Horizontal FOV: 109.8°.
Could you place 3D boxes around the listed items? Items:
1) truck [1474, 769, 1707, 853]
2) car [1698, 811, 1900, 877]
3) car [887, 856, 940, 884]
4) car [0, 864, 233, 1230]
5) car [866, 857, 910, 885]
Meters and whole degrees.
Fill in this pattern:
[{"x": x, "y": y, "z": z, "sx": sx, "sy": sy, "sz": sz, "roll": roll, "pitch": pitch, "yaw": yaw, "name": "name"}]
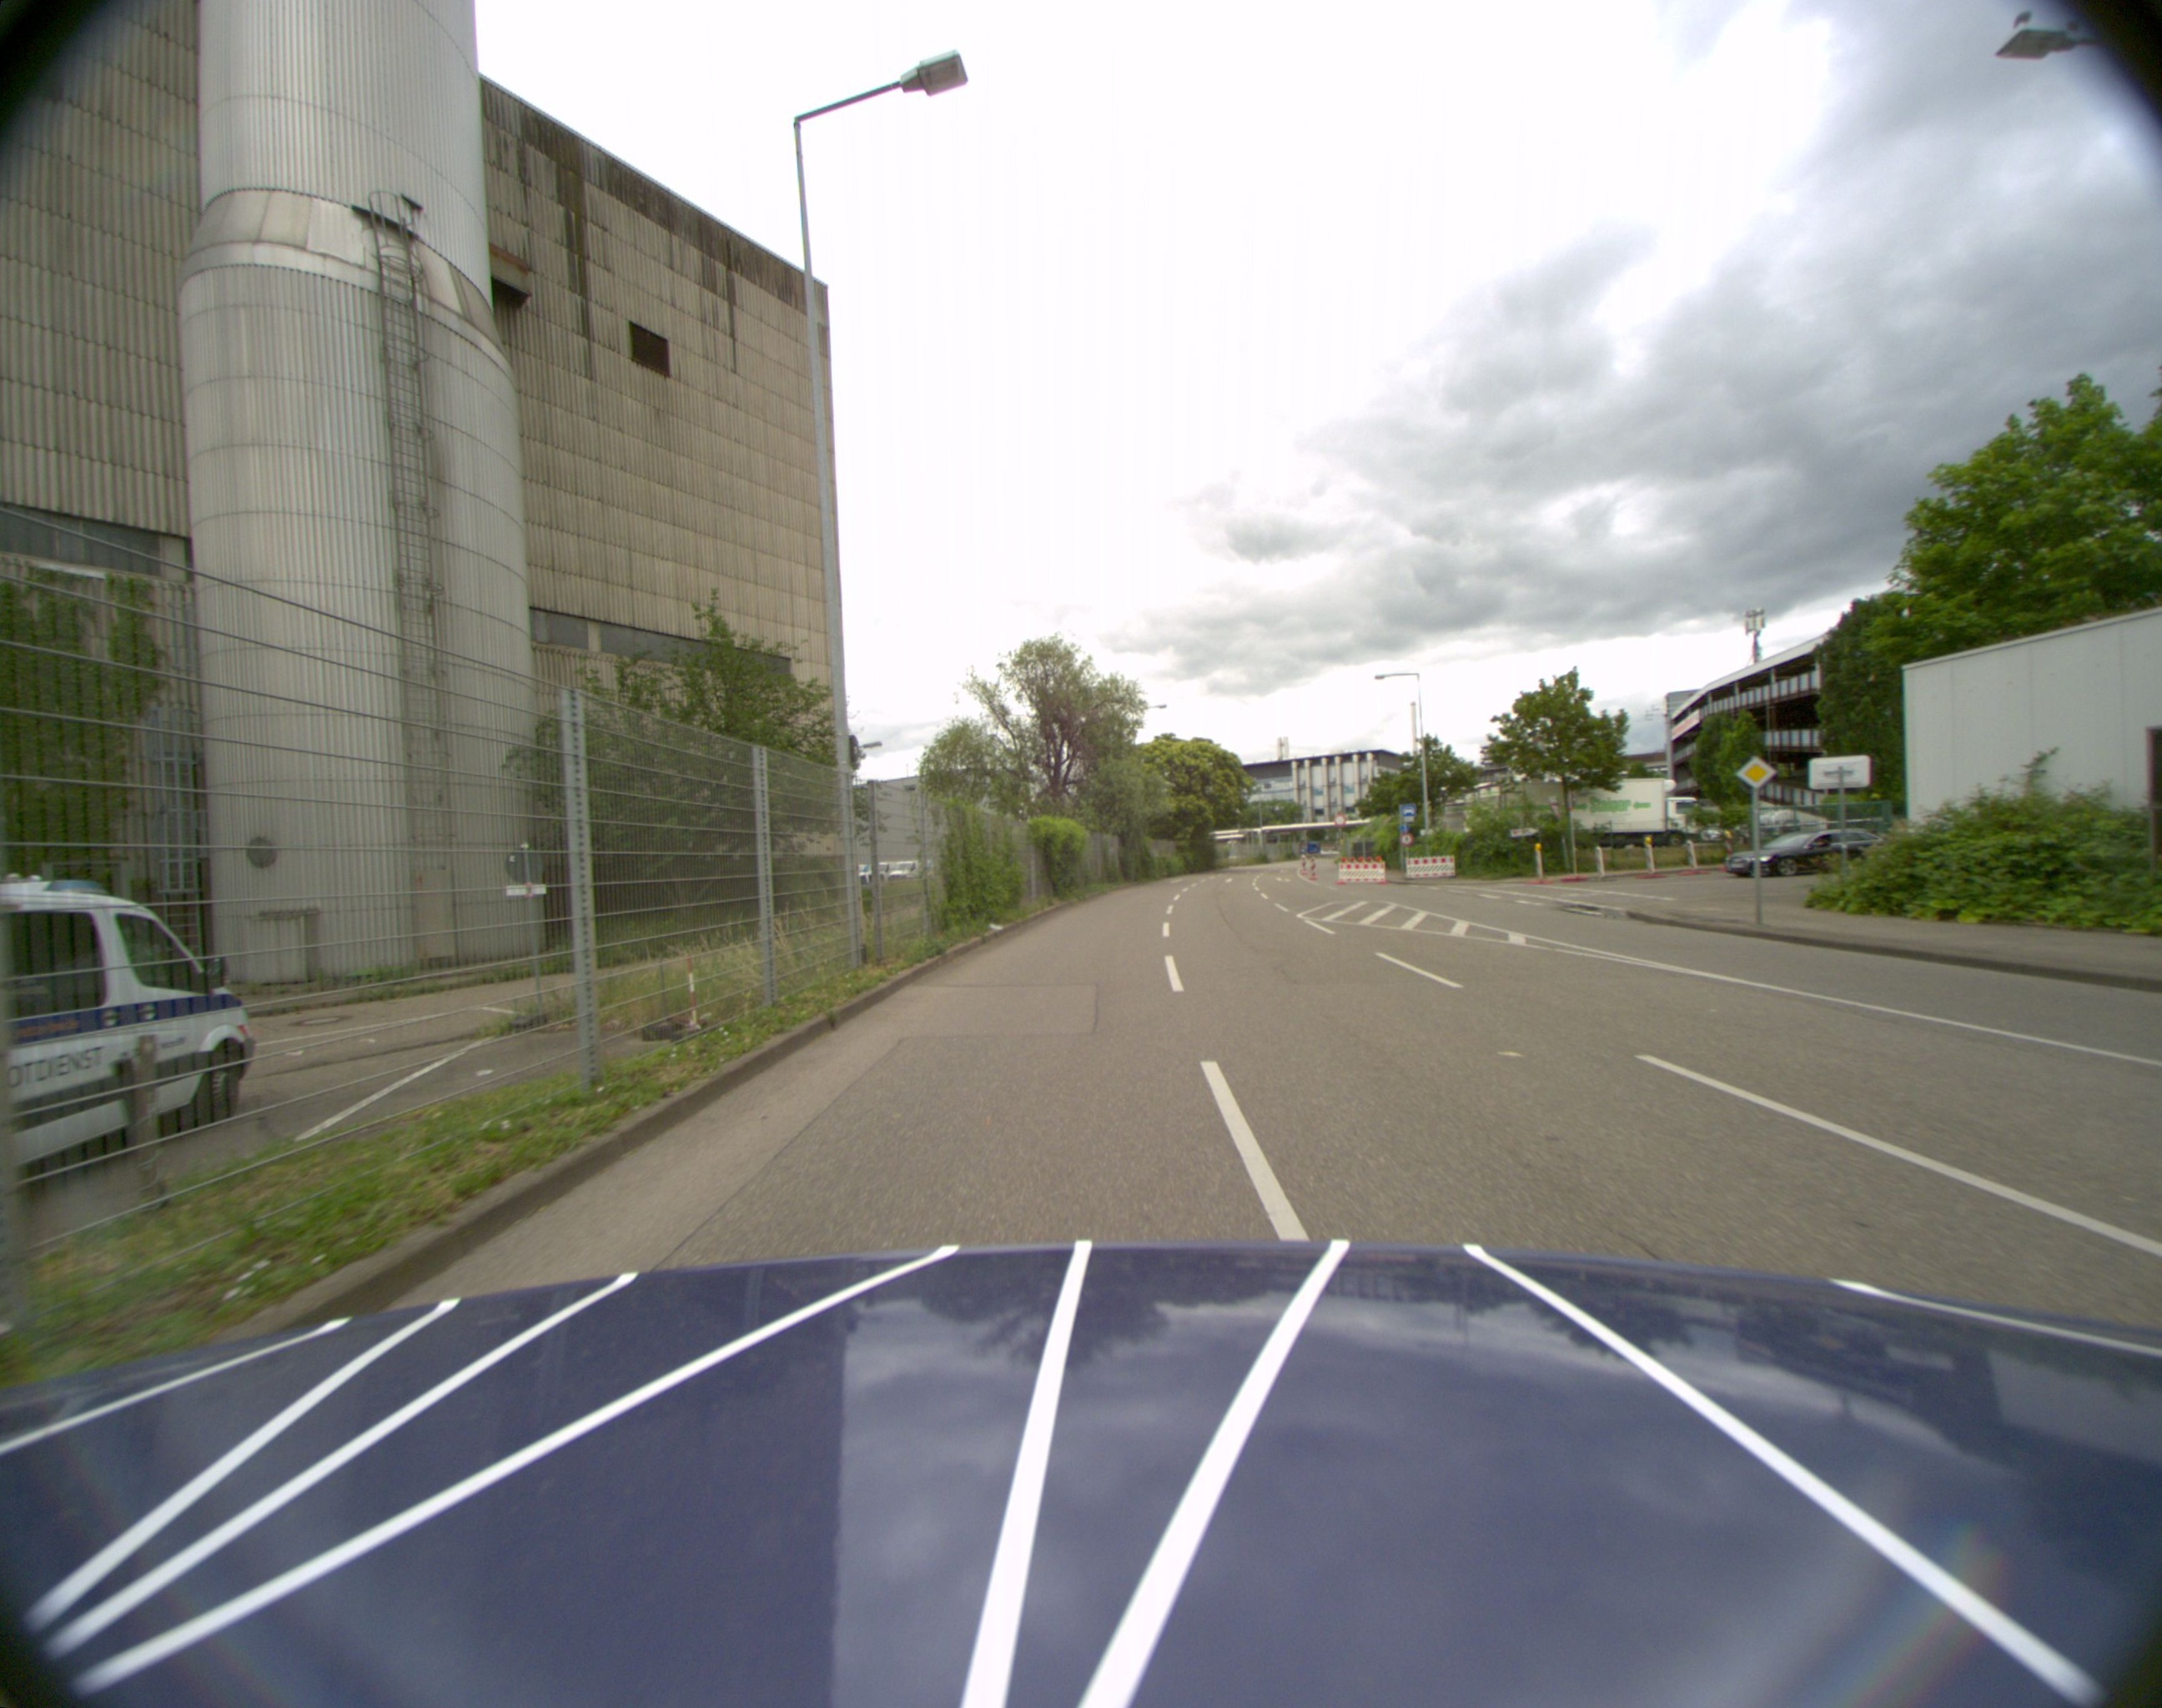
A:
[{"x": 25.003, "y": -2.045, "z": 37.680, "sx": 9.268, "sy": 3.575, "sz": 2.933, "roll": -2, "pitch": 1, "yaw": 5, "name": "truck"}, {"x": 23.788, "y": -0.326, "z": 25.328, "sx": 4.617, "sy": 1.799, "sz": 2.000, "roll": -4, "pitch": 1, "yaw": 4, "name": "car"}, {"x": -16.116, "y": 1.537, "z": 73.485, "sx": 1.996, "sy": 2.353, "sz": 5.846, "roll": -4, "pitch": 0, "yaw": 21, "name": "car"}, {"x": -8.599, "y": 1.399, "z": 4.890, "sx": 2.241, "sy": 2.532, "sz": 5.182, "roll": -4, "pitch": -1, "yaw": -25, "name": "car"}, {"x": -18.907, "y": 1.632, "z": 74.698, "sx": 1.997, "sy": 2.353, "sz": 5.842, "roll": -4, "pitch": 0, "yaw": 8, "name": "car"}]
